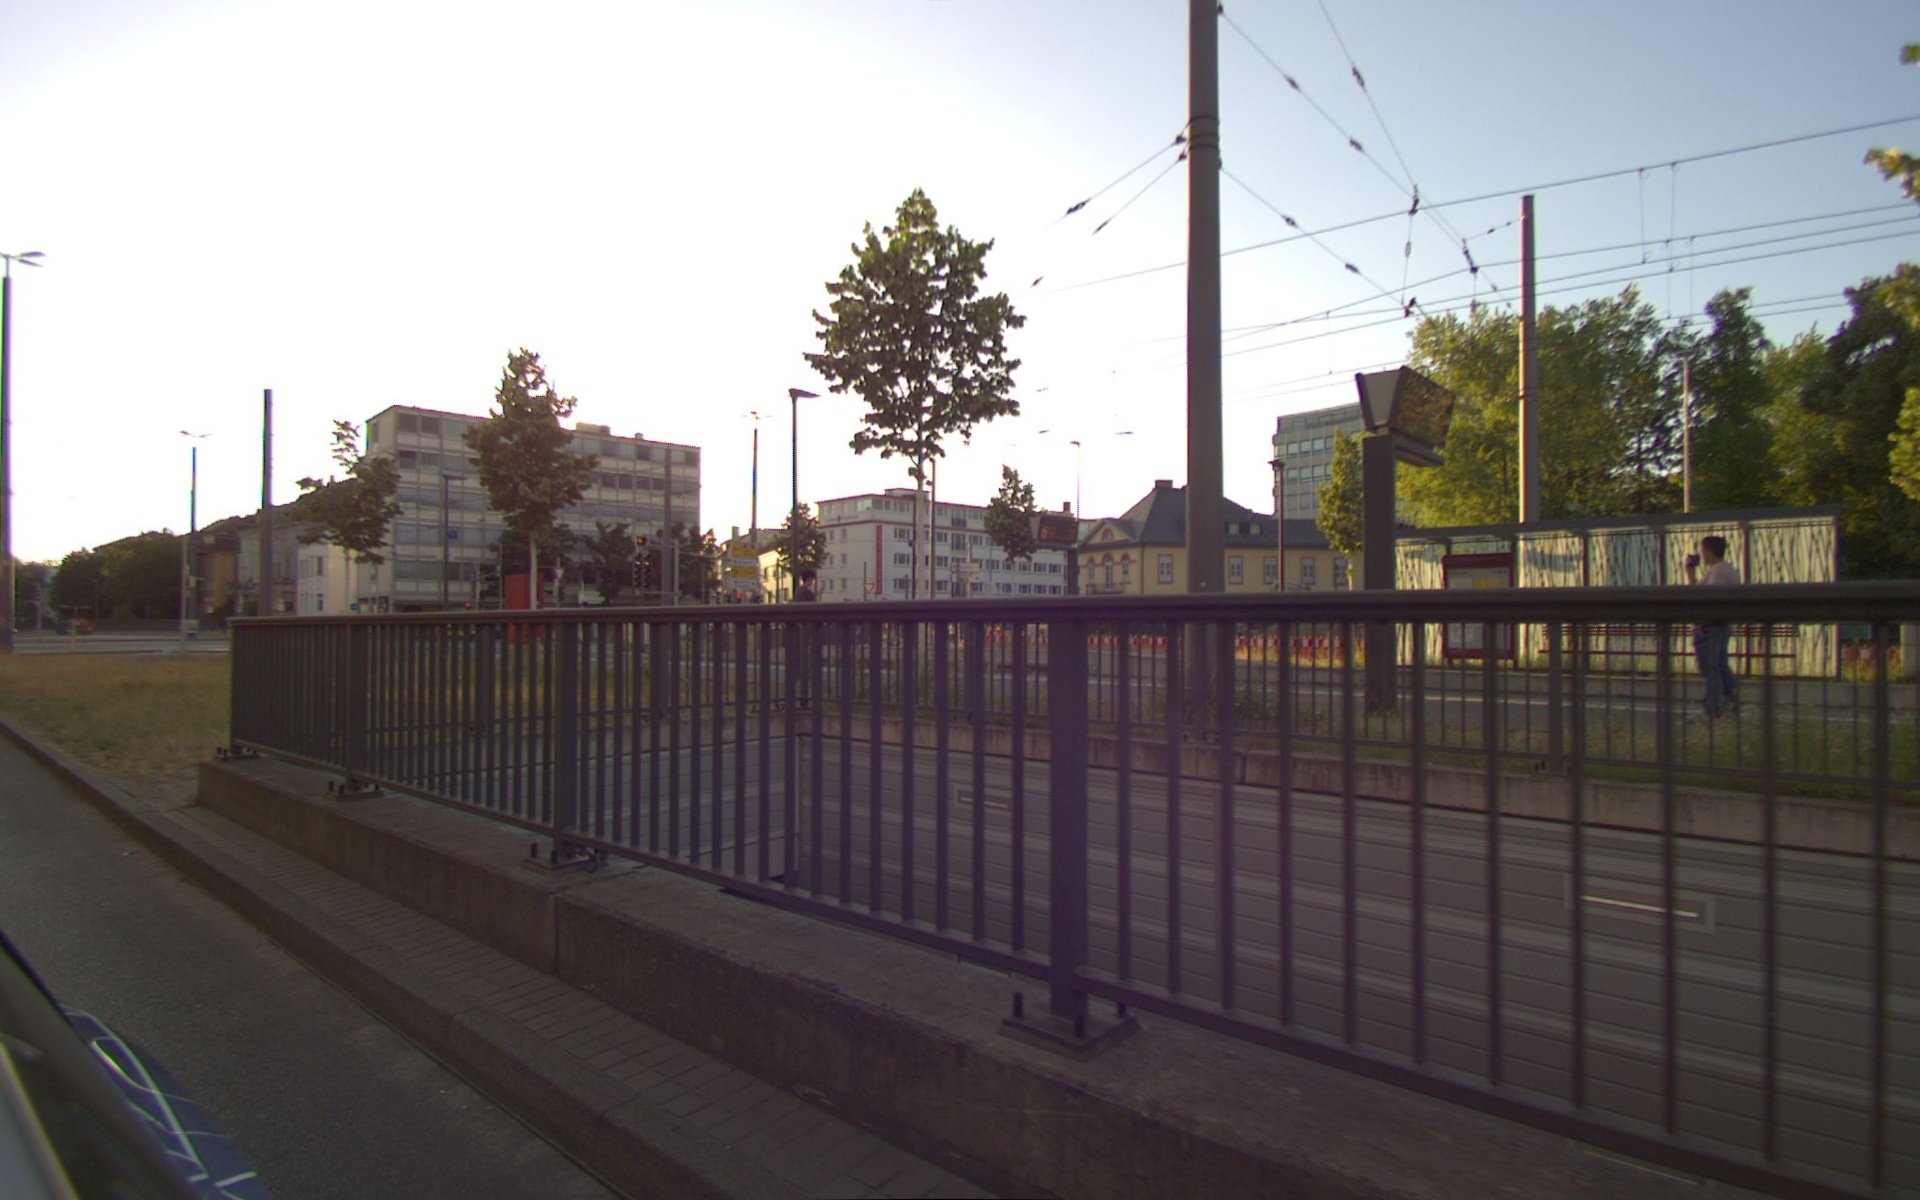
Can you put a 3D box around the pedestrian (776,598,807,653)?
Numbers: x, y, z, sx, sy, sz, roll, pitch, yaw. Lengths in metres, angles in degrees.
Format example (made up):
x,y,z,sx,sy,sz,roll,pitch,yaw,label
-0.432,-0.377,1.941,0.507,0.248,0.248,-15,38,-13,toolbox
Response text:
x,y,z,sx,sy,sz,roll,pitch,yaw,label
-5.650,0.852,33.906,0.817,1.812,0.686,-1,-2,44,pedestrian

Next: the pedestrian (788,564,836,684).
x,y,z,sx,sy,sz,roll,pitch,yaw,label
-2.293,0.367,15.676,0.465,1.800,0.627,1,-2,-41,pedestrian

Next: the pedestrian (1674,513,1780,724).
x,y,z,sx,sy,sz,roll,pitch,yaw,label
6.721,0.162,8.902,0.634,1.758,0.719,-2,-2,34,pedestrian
